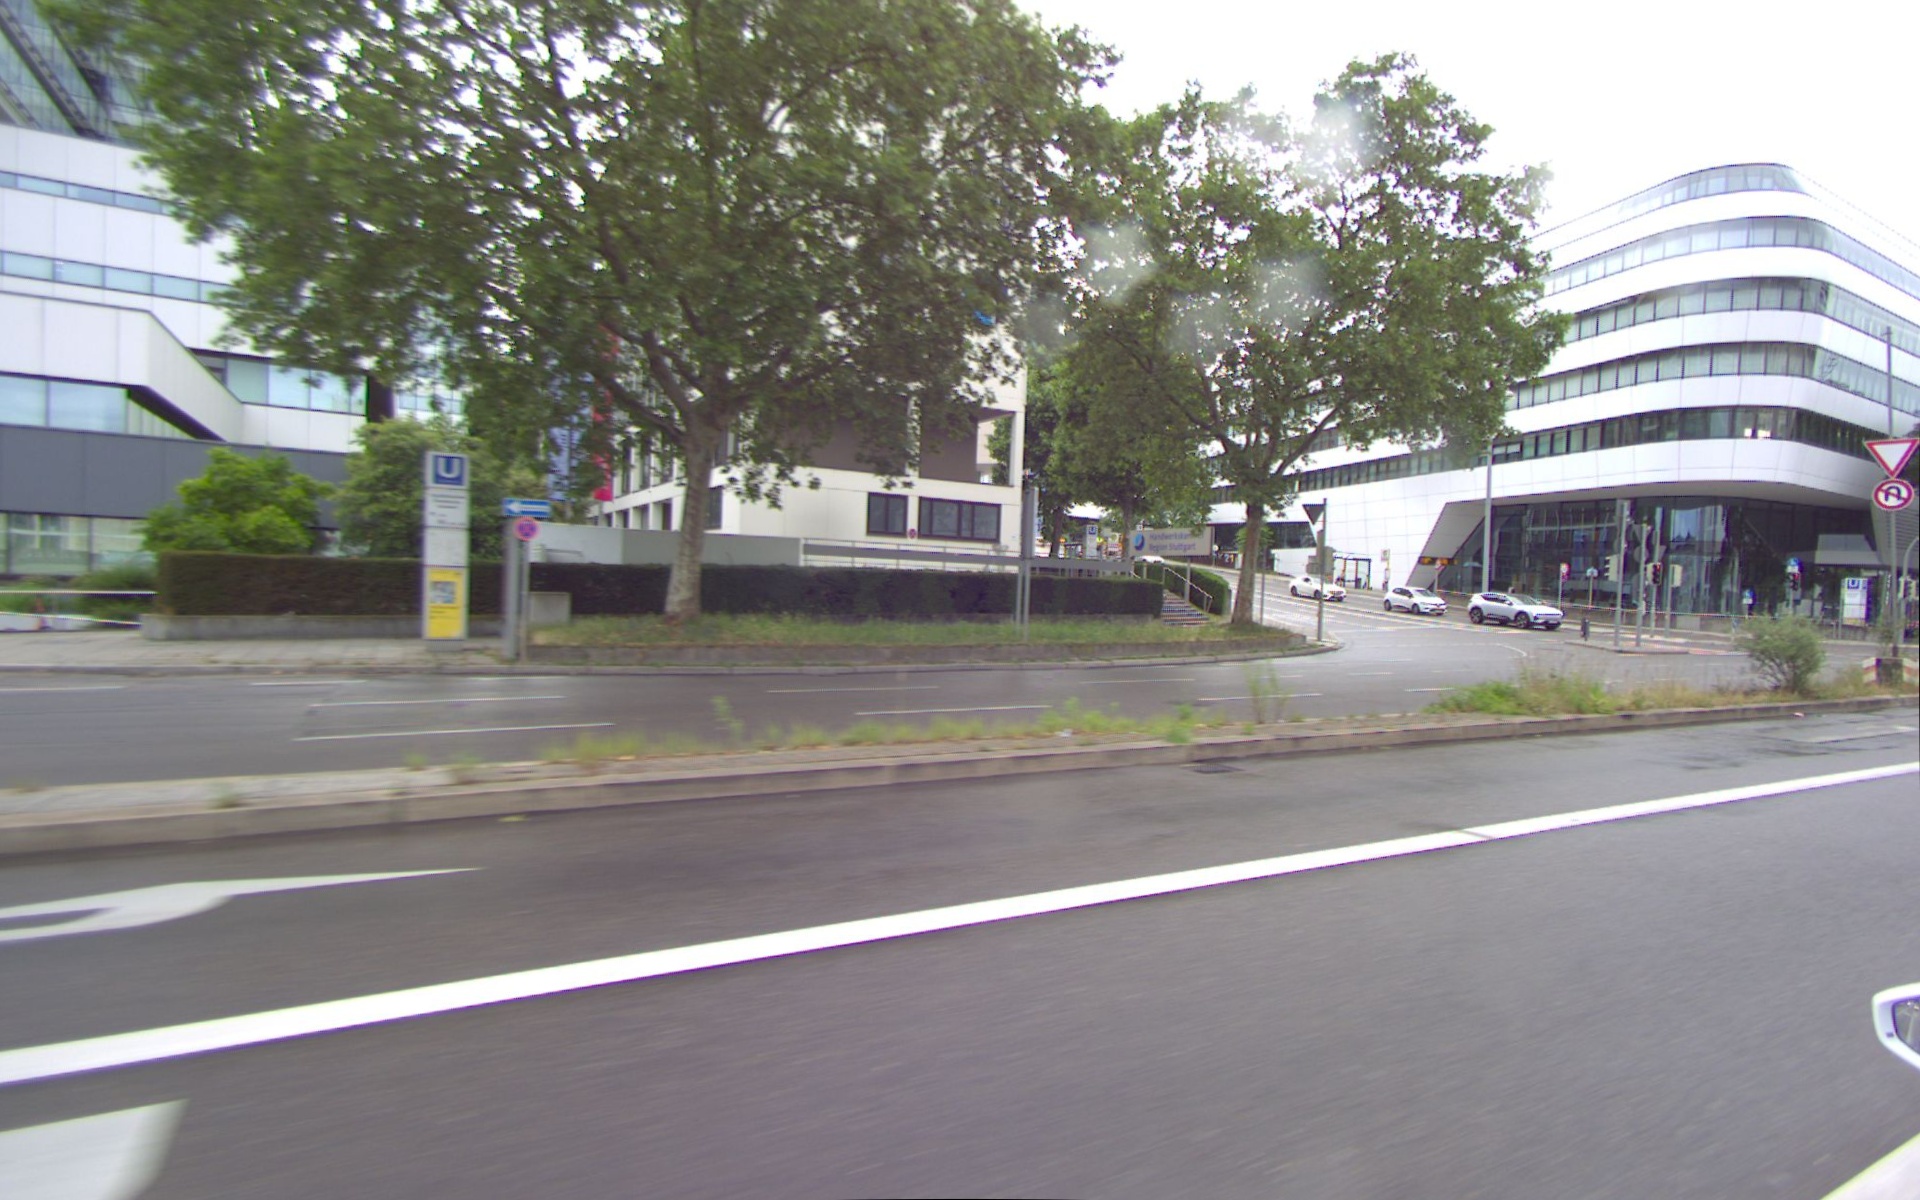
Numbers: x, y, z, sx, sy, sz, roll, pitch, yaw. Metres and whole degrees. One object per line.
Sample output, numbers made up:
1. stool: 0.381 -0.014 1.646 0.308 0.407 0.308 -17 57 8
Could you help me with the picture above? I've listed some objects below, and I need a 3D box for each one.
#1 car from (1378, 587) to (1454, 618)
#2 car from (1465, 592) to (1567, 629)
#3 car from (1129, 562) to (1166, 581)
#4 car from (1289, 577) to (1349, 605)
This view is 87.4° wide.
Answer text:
1. car: 26.161 0.144 57.754 1.862 1.653 3.990 3 0 -13
2. car: 27.530 0.500 49.908 1.862 1.653 4.505 3 0 -13
3. car: 17.388 -2.669 93.101 1.862 1.653 3.989 3 2 -13
4. car: 23.715 -0.604 66.486 1.862 1.653 3.989 3 1 -13
